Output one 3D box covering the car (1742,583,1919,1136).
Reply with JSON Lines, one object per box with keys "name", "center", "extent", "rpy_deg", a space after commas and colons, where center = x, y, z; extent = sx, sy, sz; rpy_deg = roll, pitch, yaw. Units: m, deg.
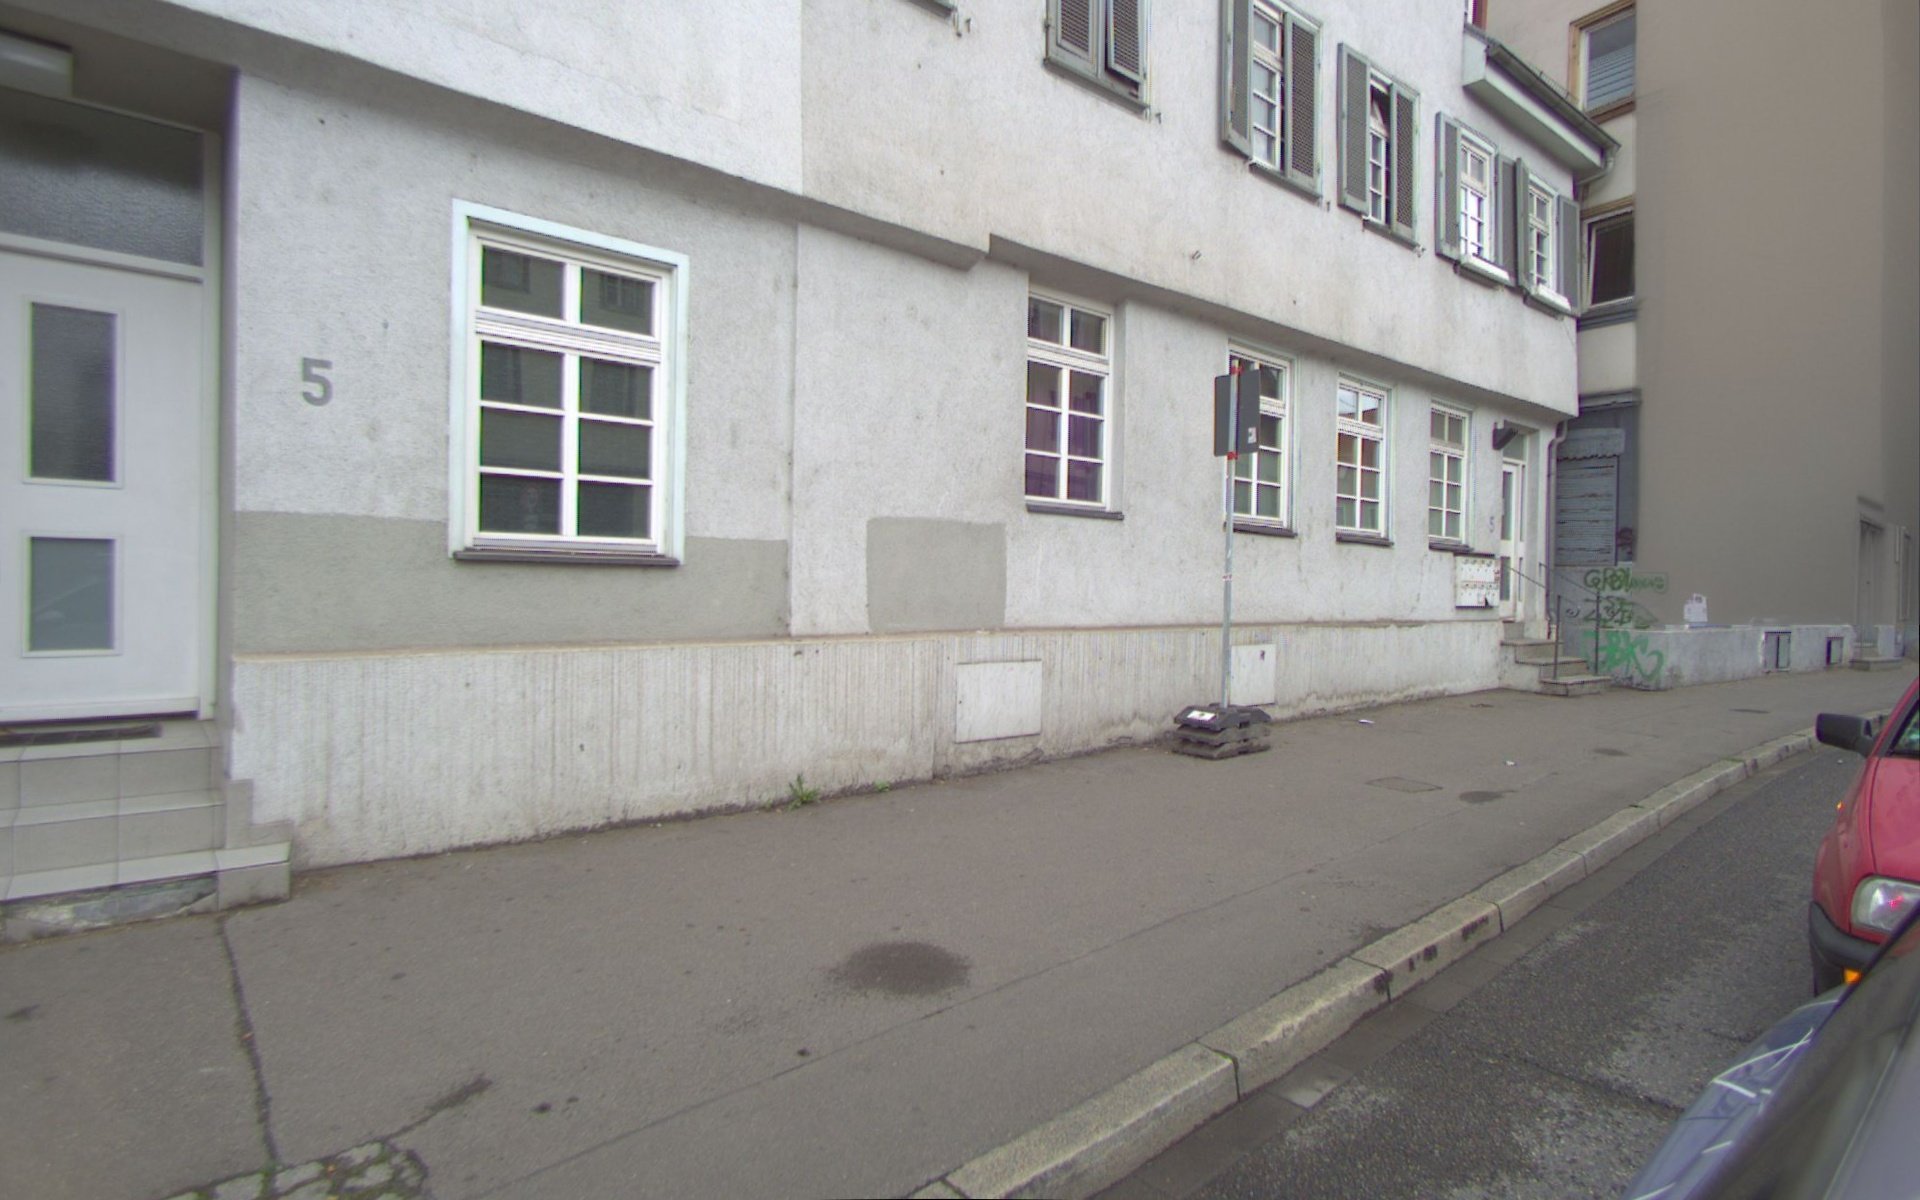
{"name": "car", "center": [4.445, 0.683, 3.574], "extent": [3.928, 1.443, 1.792], "rpy_deg": [-2, 2, -39]}
